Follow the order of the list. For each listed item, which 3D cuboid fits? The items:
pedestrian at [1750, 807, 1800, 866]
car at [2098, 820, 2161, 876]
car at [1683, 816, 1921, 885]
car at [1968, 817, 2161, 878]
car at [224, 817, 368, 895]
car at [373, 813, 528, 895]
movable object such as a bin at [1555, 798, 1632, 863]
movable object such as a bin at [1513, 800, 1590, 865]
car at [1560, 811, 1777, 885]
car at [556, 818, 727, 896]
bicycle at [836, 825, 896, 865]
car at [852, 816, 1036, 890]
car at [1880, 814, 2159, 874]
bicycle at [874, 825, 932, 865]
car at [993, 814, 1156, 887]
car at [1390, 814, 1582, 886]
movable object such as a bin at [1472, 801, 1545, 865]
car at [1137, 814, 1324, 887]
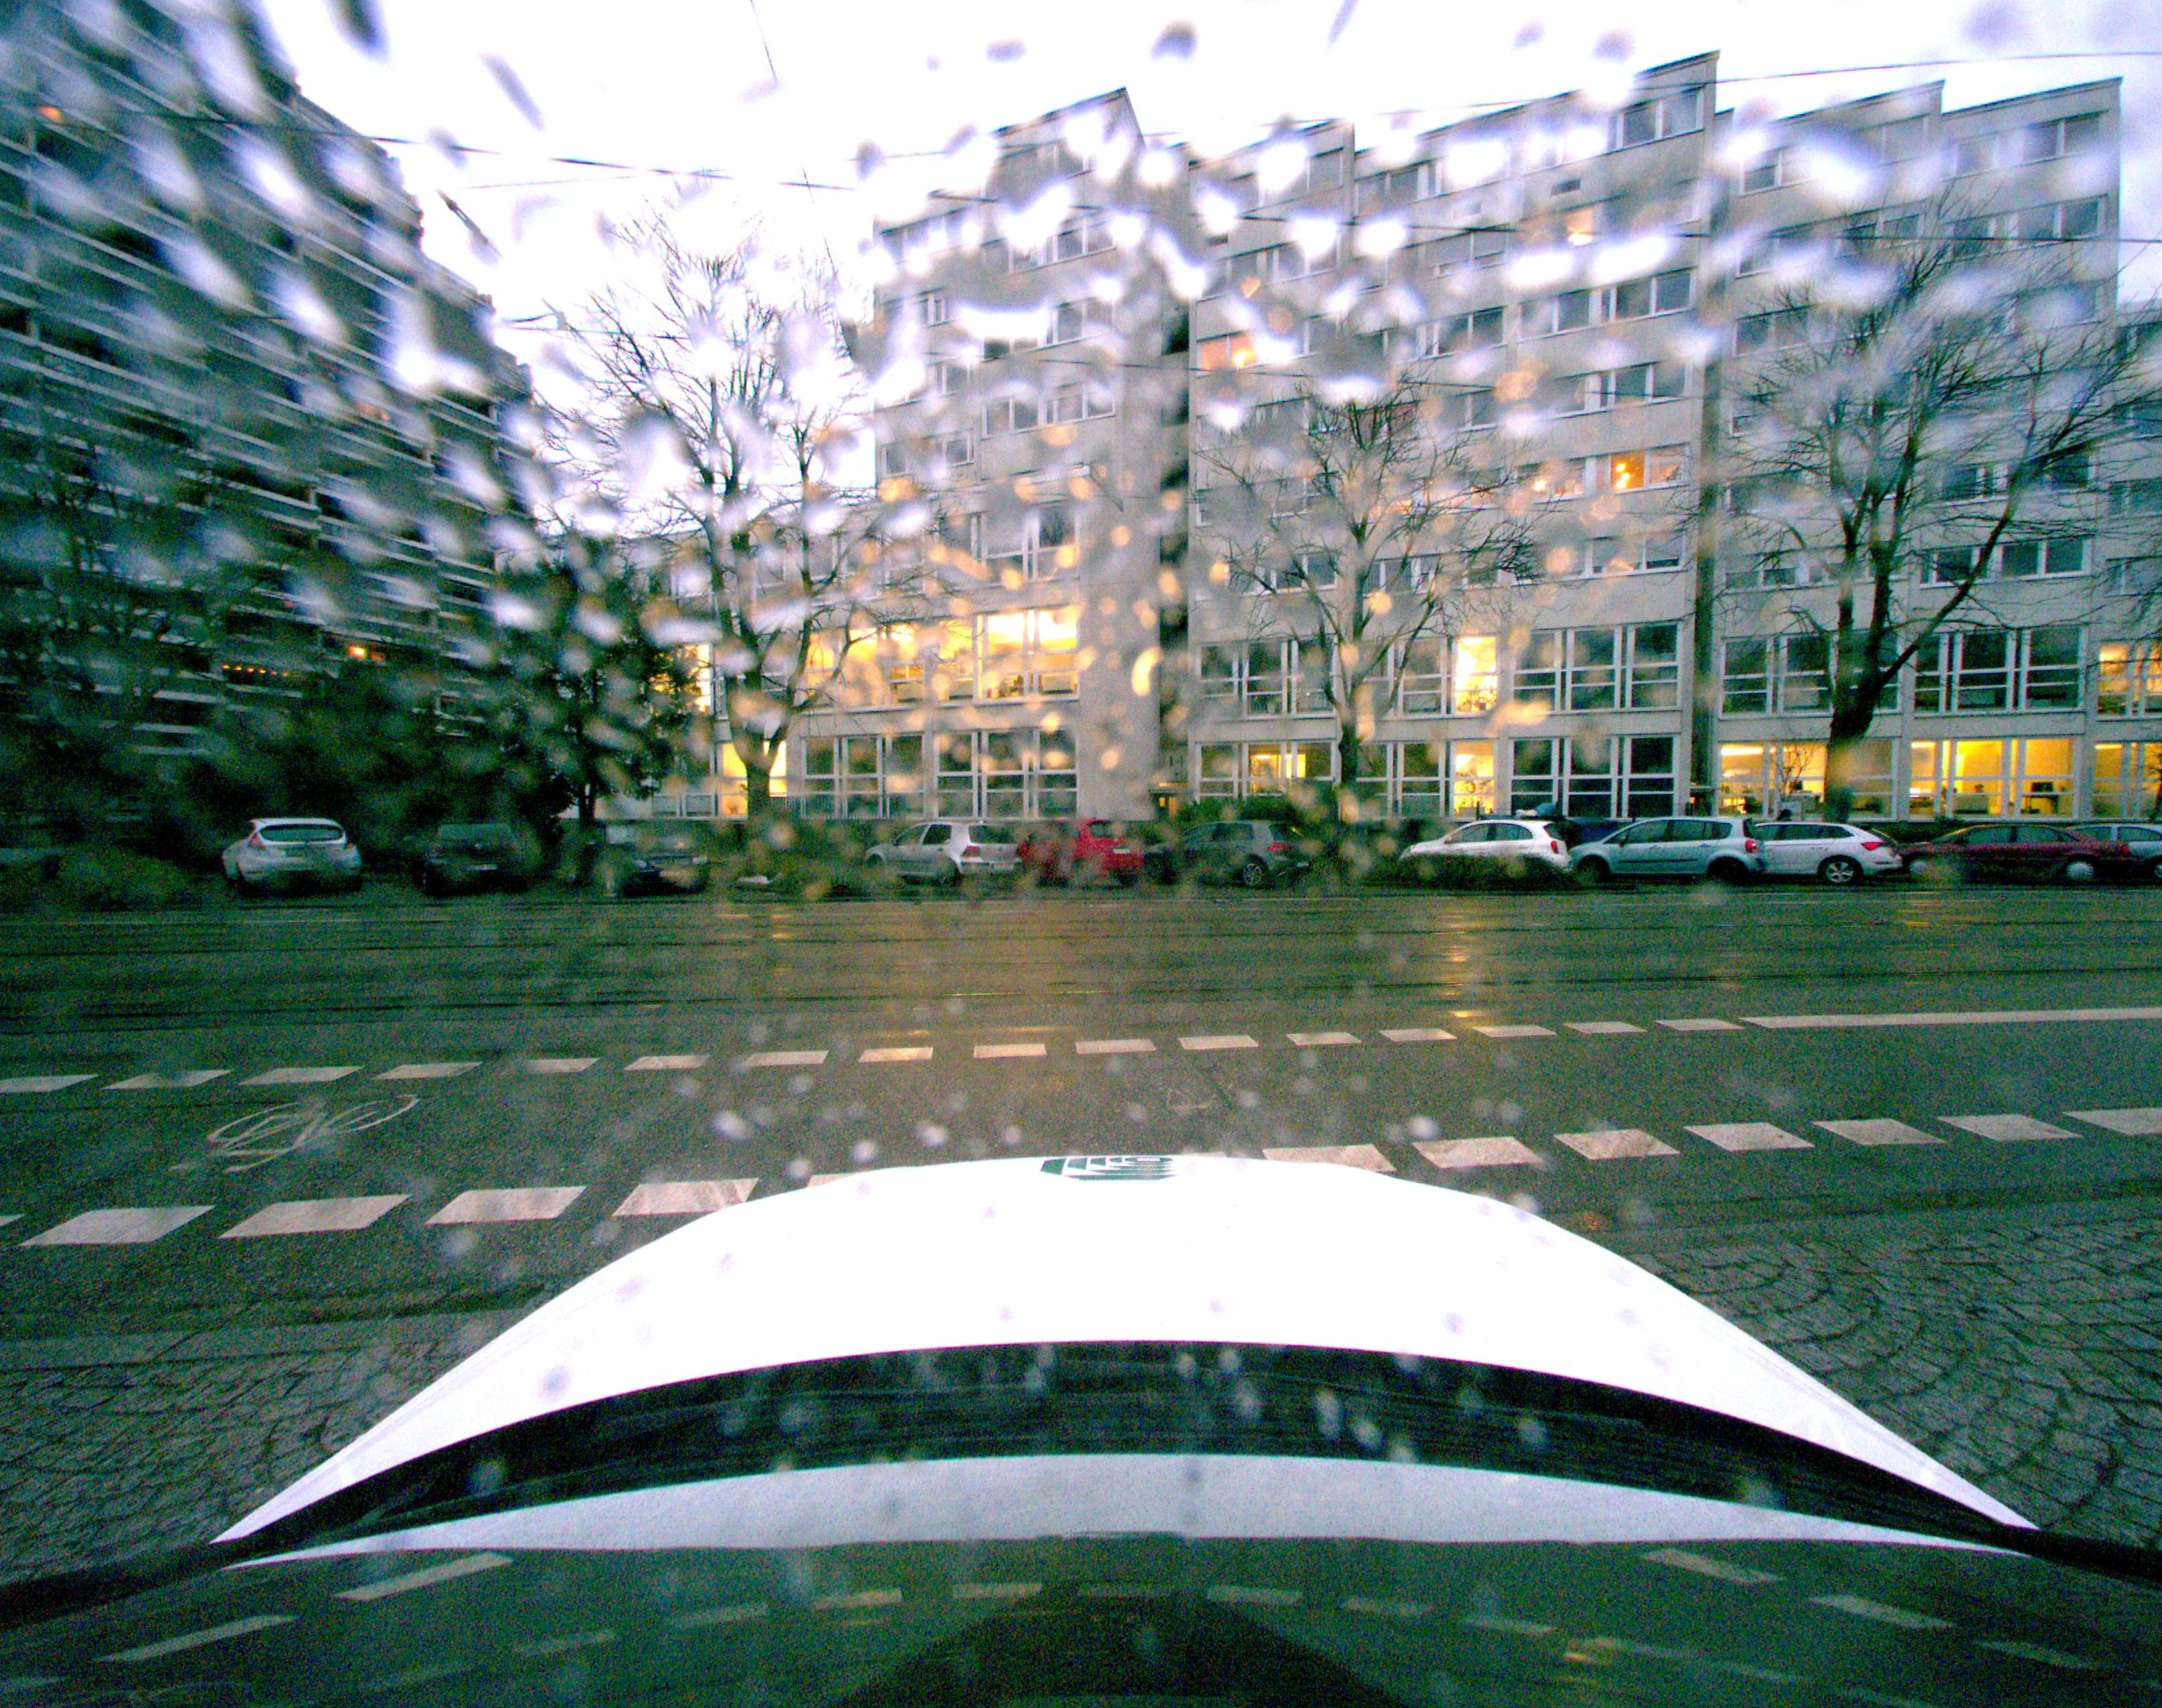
[{"bbox_3d":[20.187,-0.518,23.706,0.968,1.676,0.598,-1,2,-6],"label":"pedestrian"},{"bbox_3d":[29.606,-0.159,21.068,3.803,1.423,1.748,1,3,39],"label":"car"},{"bbox_3d":[16.854,-0.130,19.203,1.745,1.443,3.955,-1,2,-38],"label":"car"},{"bbox_3d":[25.982,-0.191,21.119,1.746,1.463,3.954,-1,2,-40],"label":"car"},{"bbox_3d":[-16.166,-0.024,16.713,3.950,1.399,1.867,1,3,43],"label":"car"},{"bbox_3d":[-12.994,-0.064,16.711,3.950,1.462,1.867,1,3,43],"label":"car"},{"bbox_3d":[15.621,-0.723,24.867,1.311,1.859,1.573,-2,2,-4],"label":"movable object such as a bin"},{"bbox_3d":[14.280,-0.672,24.762,1.386,1.859,1.573,-2,2,-4],"label":"movable object such as a bin"},{"bbox_3d":[13.756,-0.185,19.196,3.950,1.563,1.747,1,3,43],"label":"car"},{"bbox_3d":[-9.016,-0.003,16.577,3.950,1.378,1.867,1,3,43],"label":"car"},{"bbox_3d":[-6.422,-0.298,24.486,0.635,1.120,2.216,0,2,18],"label":"bicycle"},{"bbox_3d":[-3.072,-0.070,17.888,3.949,1.446,1.804,1,3,39],"label":"car"},{"bbox_3d":[23.147,-0.277,20.387,4.292,1.352,1.761,1,2,37],"label":"car"},{"bbox_3d":[-5.243,-0.298,24.149,0.635,1.120,2.216,0,2,18],"label":"bicycle"},{"bbox_3d":[-0.194,-0.132,18.451,3.408,1.492,1.740,1,3,43],"label":"car"},{"bbox_3d":[9.648,-0.138,19.541,3.827,1.551,1.704,1,3,40],"label":"car"},{"bbox_3d":[12.894,-0.648,24.631,1.311,1.859,1.573,-2,2,-4],"label":"movable object such as a bin"},{"bbox_3d":[3.311,-0.128,18.406,3.805,1.492,1.707,1,3,41],"label":"car"}]
